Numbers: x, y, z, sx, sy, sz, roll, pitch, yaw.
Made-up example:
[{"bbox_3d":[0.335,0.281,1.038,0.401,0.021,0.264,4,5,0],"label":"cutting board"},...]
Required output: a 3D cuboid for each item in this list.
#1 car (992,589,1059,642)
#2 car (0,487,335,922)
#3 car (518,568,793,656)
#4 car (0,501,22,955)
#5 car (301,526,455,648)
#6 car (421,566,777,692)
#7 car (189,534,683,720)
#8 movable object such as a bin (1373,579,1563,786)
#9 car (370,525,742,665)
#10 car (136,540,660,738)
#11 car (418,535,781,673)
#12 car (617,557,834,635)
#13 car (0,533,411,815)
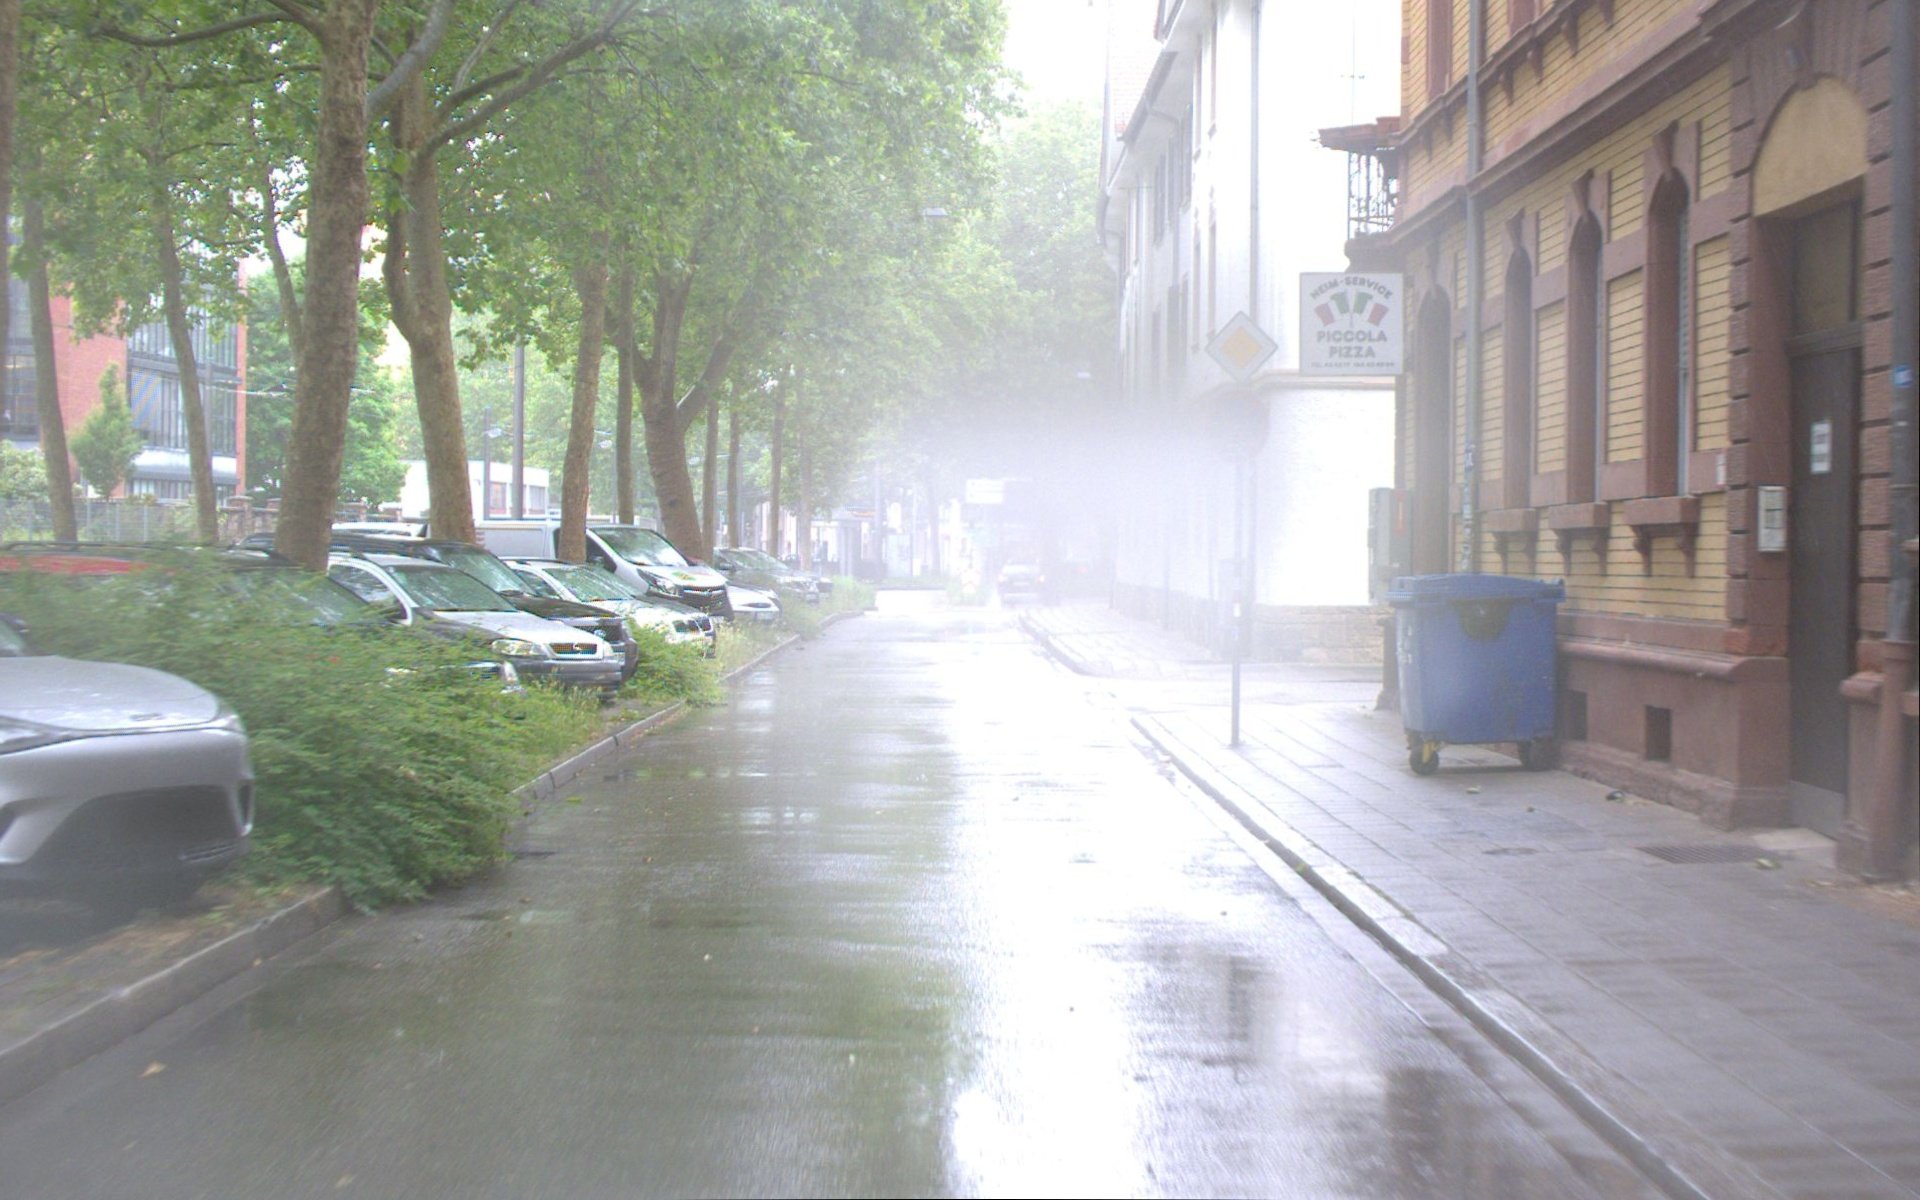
[{"bbox_3d":[2.132,0.491,112.535,1.993,1.634,4.000,2,0,-1],"label":"car"},{"bbox_3d":[-4.711,0.294,13.846,4.059,1.532,1.832,2,1,30],"label":"car"},{"bbox_3d":[-5.293,0.197,59.611,4.554,1.477,1.772,0,0,30],"label":"car"},{"bbox_3d":[-4.978,0.389,11.023,3.503,1.462,1.640,1,0,21],"label":"car"},{"bbox_3d":[-10.143,-0.251,60.243,2.037,1.993,5.160,2,1,-3],"label":"car"},{"bbox_3d":[-4.694,0.347,44.614,4.308,1.432,1.745,2,1,27],"label":"car"},{"bbox_3d":[-5.059,0.223,33.090,4.410,1.654,1.927,1,1,28],"label":"car"},{"bbox_3d":[3.407,0.534,23.175,1.021,1.297,1.367,-2,1,-1],"label":"movable object such as a bin"},{"bbox_3d":[-4.829,-0.082,41.080,4.061,1.494,1.745,2,1,24],"label":"car"},{"bbox_3d":[-4.999,0.337,30.427,4.411,1.640,1.868,-1,0,31],"label":"car"},{"bbox_3d":[-5.375,0.046,51.047,5.124,1.971,2.099,0,0,31],"label":"car"},{"bbox_3d":[-5.248,-0.101,76.835,4.465,1.591,1.920,2,1,26],"label":"car"},{"bbox_3d":[-5.270,0.367,20.437,3.648,1.474,1.741,2,1,30],"label":"car"}]
